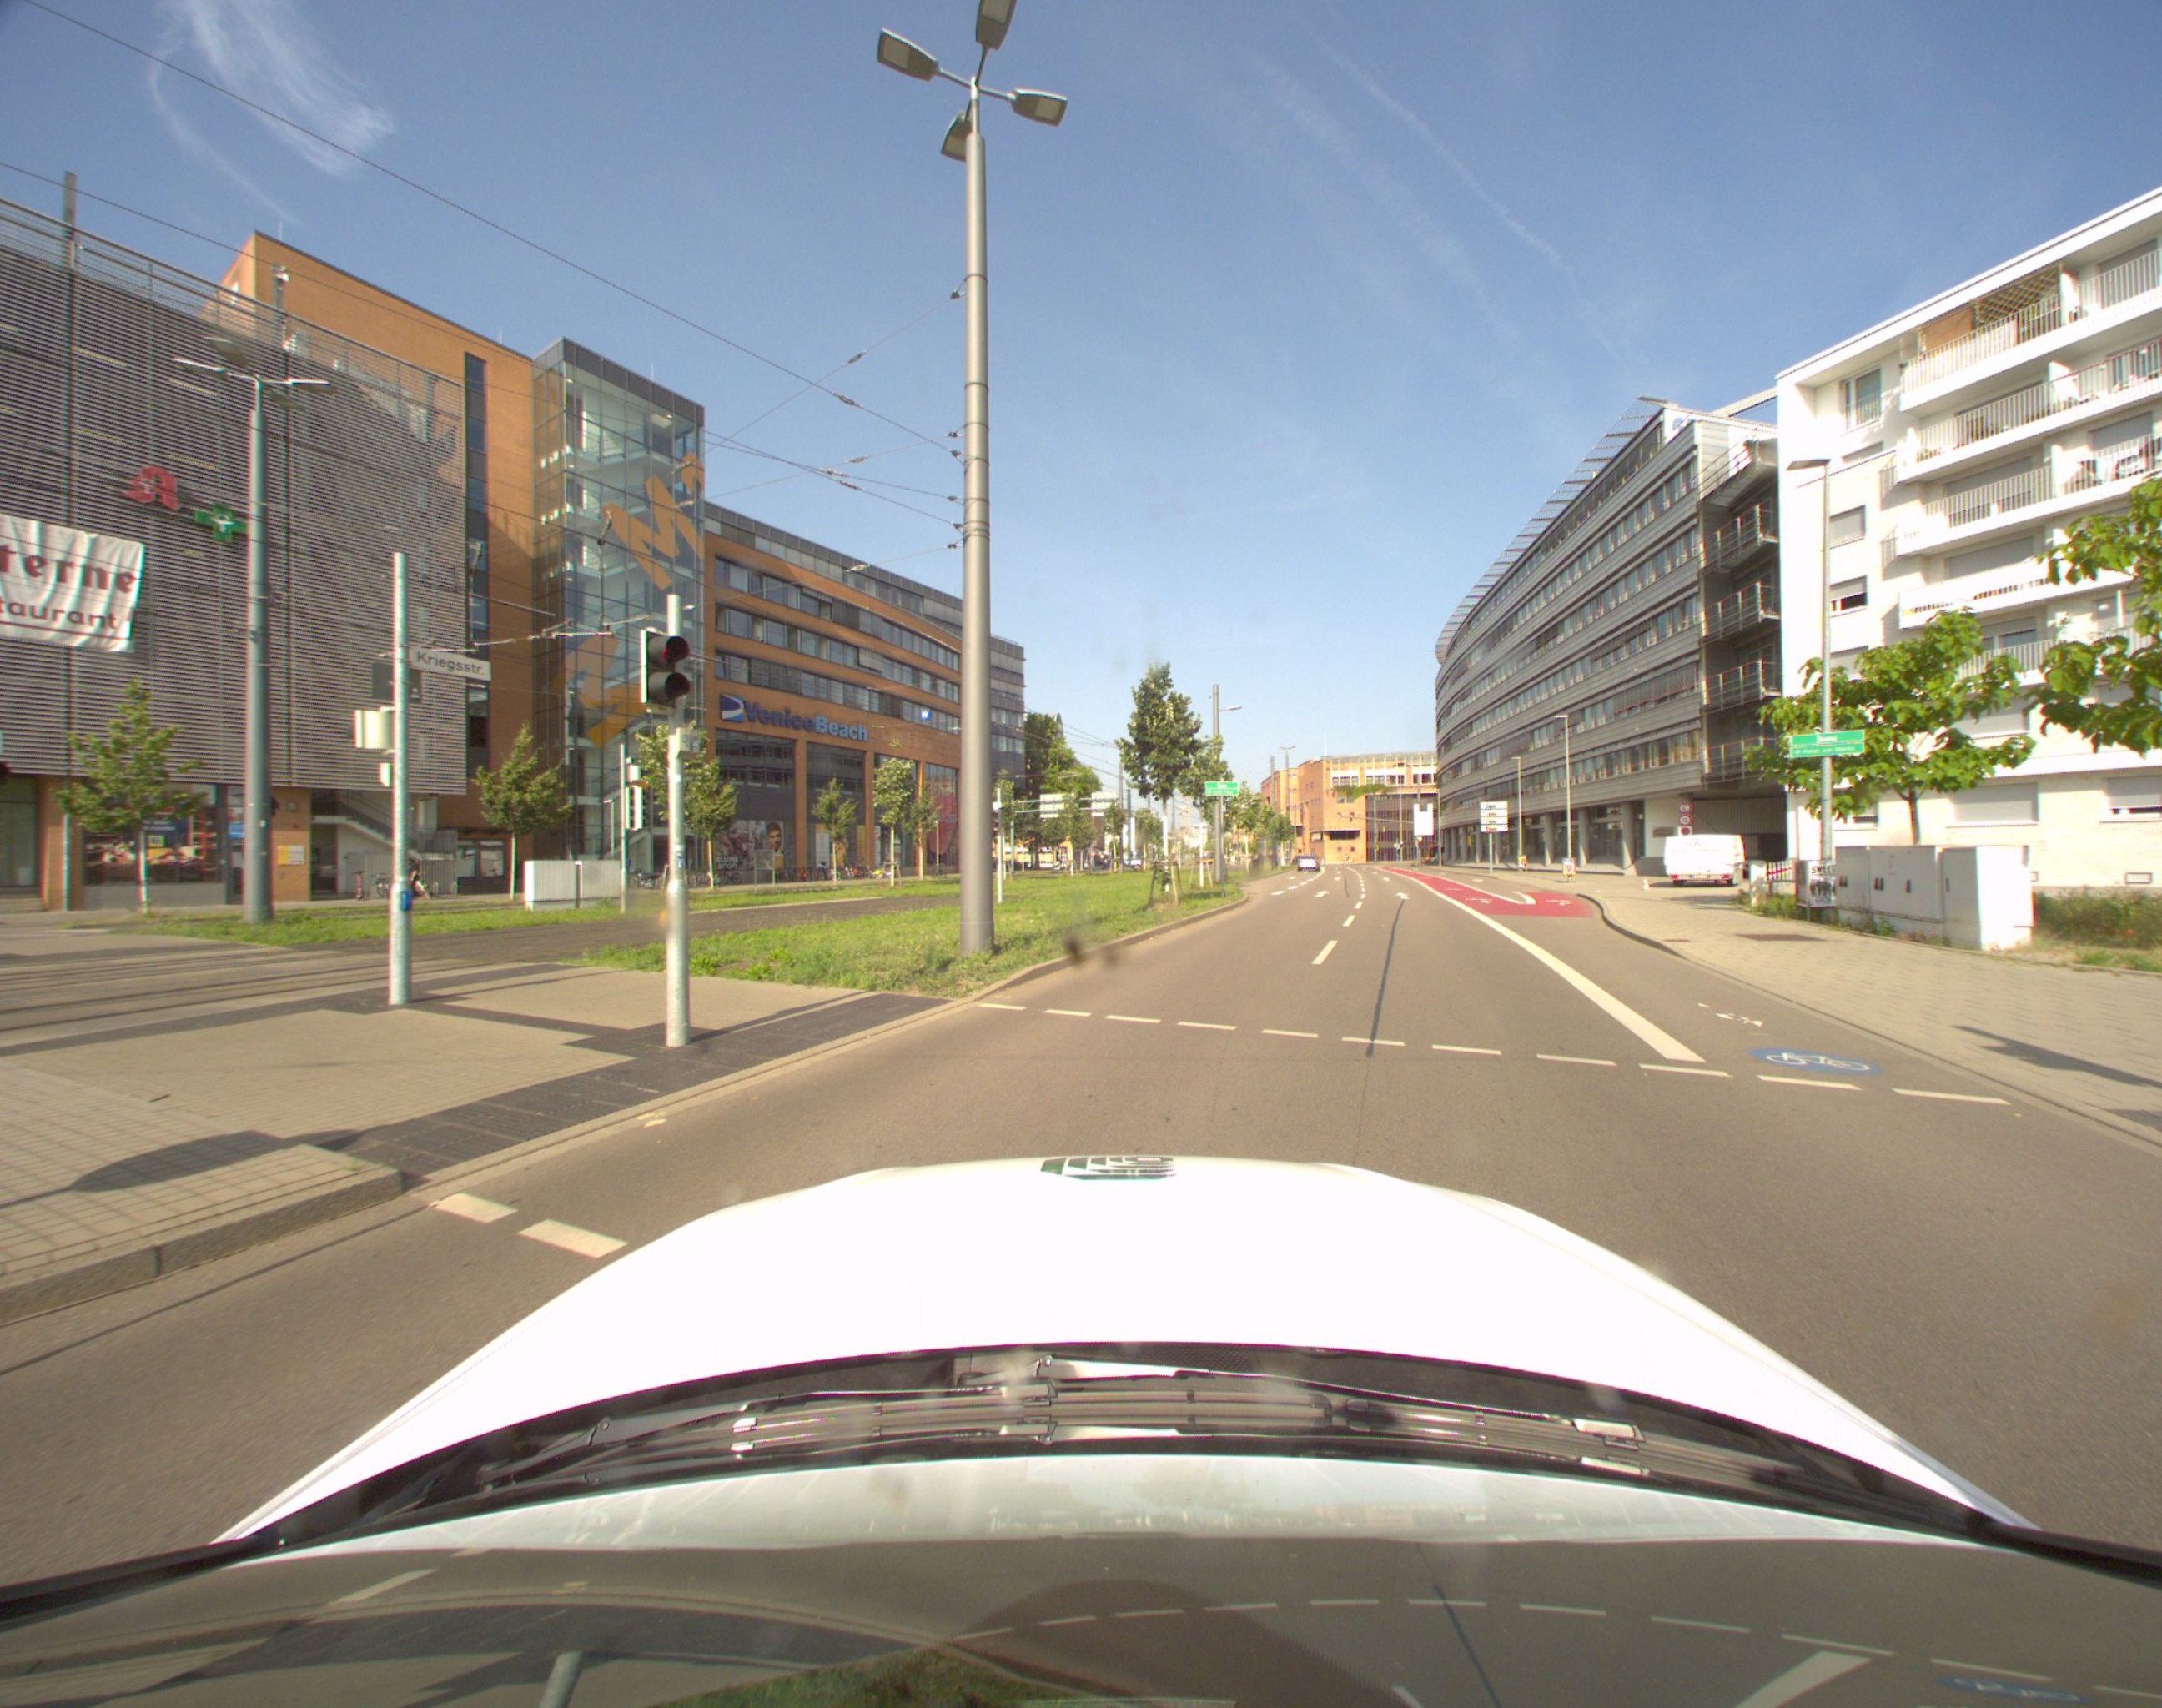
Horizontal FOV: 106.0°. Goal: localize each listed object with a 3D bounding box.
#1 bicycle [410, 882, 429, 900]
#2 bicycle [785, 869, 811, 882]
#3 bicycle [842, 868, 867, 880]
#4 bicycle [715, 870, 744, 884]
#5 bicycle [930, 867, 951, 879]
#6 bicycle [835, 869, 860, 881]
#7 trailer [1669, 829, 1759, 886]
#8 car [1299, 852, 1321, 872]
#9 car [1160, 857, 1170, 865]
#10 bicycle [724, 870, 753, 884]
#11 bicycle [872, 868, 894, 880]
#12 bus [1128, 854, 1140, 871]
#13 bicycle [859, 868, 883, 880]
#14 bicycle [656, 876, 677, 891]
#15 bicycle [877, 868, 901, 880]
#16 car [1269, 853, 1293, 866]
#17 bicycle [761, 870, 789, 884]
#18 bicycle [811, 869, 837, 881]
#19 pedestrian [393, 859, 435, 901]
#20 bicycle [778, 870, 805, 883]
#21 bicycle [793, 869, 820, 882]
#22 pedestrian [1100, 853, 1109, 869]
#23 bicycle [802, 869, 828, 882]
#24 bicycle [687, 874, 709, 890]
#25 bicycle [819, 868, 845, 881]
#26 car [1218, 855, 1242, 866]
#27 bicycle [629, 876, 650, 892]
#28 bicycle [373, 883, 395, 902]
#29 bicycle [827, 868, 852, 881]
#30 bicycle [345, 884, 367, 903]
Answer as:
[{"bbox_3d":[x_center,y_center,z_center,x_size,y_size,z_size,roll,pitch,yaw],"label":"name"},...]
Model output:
[{"bbox_3d":[-28.703,1.599,35.318,1.011,0.752,0.363,-1,0,34],"label":"bicycle"},{"bbox_3d":[-20.477,1.575,58.891,2.029,0.921,0.577,-1,-1,27],"label":"bicycle"},{"bbox_3d":[-17.922,1.597,64.521,2.029,0.921,0.577,-1,-1,27],"label":"bicycle"},{"bbox_3d":[-23.161,1.519,53.669,2.029,0.921,0.577,-1,-1,27],"label":"bicycle"},{"bbox_3d":[-11.395,1.550,66.155,1.659,0.907,0.714,-1,-1,32],"label":"bicycle"},{"bbox_3d":[-18.286,1.624,63.690,2.029,0.921,0.577,-1,-1,27],"label":"bicycle"},{"bbox_3d":[26.319,0.119,33.775,2.366,2.151,5.985,-1,0,43],"label":"trailer"},{"bbox_3d":[20.426,0.747,72.577,1.691,1.755,3.907,-1,-2,17],"label":"car"},{"bbox_3d":[17.161,1.463,166.105,1.718,1.542,3.459,-1,0,13],"label":"car"},{"bbox_3d":[-22.847,1.537,54.340,2.029,0.921,0.577,-1,-1,27],"label":"bicycle"},{"bbox_3d":[-16.397,1.662,67.482,2.029,0.921,0.383,-1,-1,27],"label":"bicycle"},{"bbox_3d":[12.582,2.094,192.308,2.734,3.922,12.227,-1,-2,4],"label":"bus"},{"bbox_3d":[-17.018,1.628,65.948,2.029,0.921,0.577,-1,-1,27],"label":"bicycle"},{"bbox_3d":[-23.531,1.679,46.201,1.449,0.830,0.258,1,-1,29],"label":"bicycle"},{"bbox_3d":[-16.095,1.681,68.159,2.029,0.921,0.577,-1,-1,27],"label":"bicycle"},{"bbox_3d":[29.107,0.815,118.209,1.974,1.678,4.025,-2,-2,37],"label":"car"},{"bbox_3d":[-21.411,1.604,56.926,2.029,0.921,0.577,-1,-1,27],"label":"bicycle"},{"bbox_3d":[-19.333,1.579,61.278,2.029,0.921,0.577,-1,-1,27],"label":"bicycle"},{"bbox_3d":[-28.209,1.096,34.452,0.809,1.719,1.184,-1,0,33],"label":"pedestrian"},{"bbox_3d":[-20.754,1.582,58.304,2.029,0.921,0.577,-1,-1,27],"label":"bicycle"},{"bbox_3d":[-20.132,1.566,59.699,2.029,0.921,0.577,-1,-1,27],"label":"bicycle"},{"bbox_3d":[3.140,0.907,107.557,1.150,2.014,0.777,-1,-2,4],"label":"pedestrian"},{"bbox_3d":[-19.751,1.583,60.455,2.029,0.921,0.577,-1,-1,27],"label":"bicycle"},{"bbox_3d":[-22.655,1.649,48.153,1.563,0.940,0.414,-1,-1,33],"label":"bicycle"},{"bbox_3d":[-19.009,1.564,62.084,2.029,0.921,0.577,-1,-1,27],"label":"bicycle"},{"bbox_3d":[23.433,1.009,127.781,3.587,1.624,1.874,0,0,12],"label":"car"},{"bbox_3d":[-24.313,1.640,44.861,1.449,0.887,0.258,-2,-2,28],"label":"bicycle"},{"bbox_3d":[-29.365,1.627,34.318,0.993,0.752,0.455,-1,0,34],"label":"bicycle"},{"bbox_3d":[-18.631,1.578,62.862,2.029,0.921,0.577,-1,-1,27],"label":"bicycle"},{"bbox_3d":[-29.907,1.616,33.597,0.993,0.752,0.455,-1,0,34],"label":"bicycle"}]
